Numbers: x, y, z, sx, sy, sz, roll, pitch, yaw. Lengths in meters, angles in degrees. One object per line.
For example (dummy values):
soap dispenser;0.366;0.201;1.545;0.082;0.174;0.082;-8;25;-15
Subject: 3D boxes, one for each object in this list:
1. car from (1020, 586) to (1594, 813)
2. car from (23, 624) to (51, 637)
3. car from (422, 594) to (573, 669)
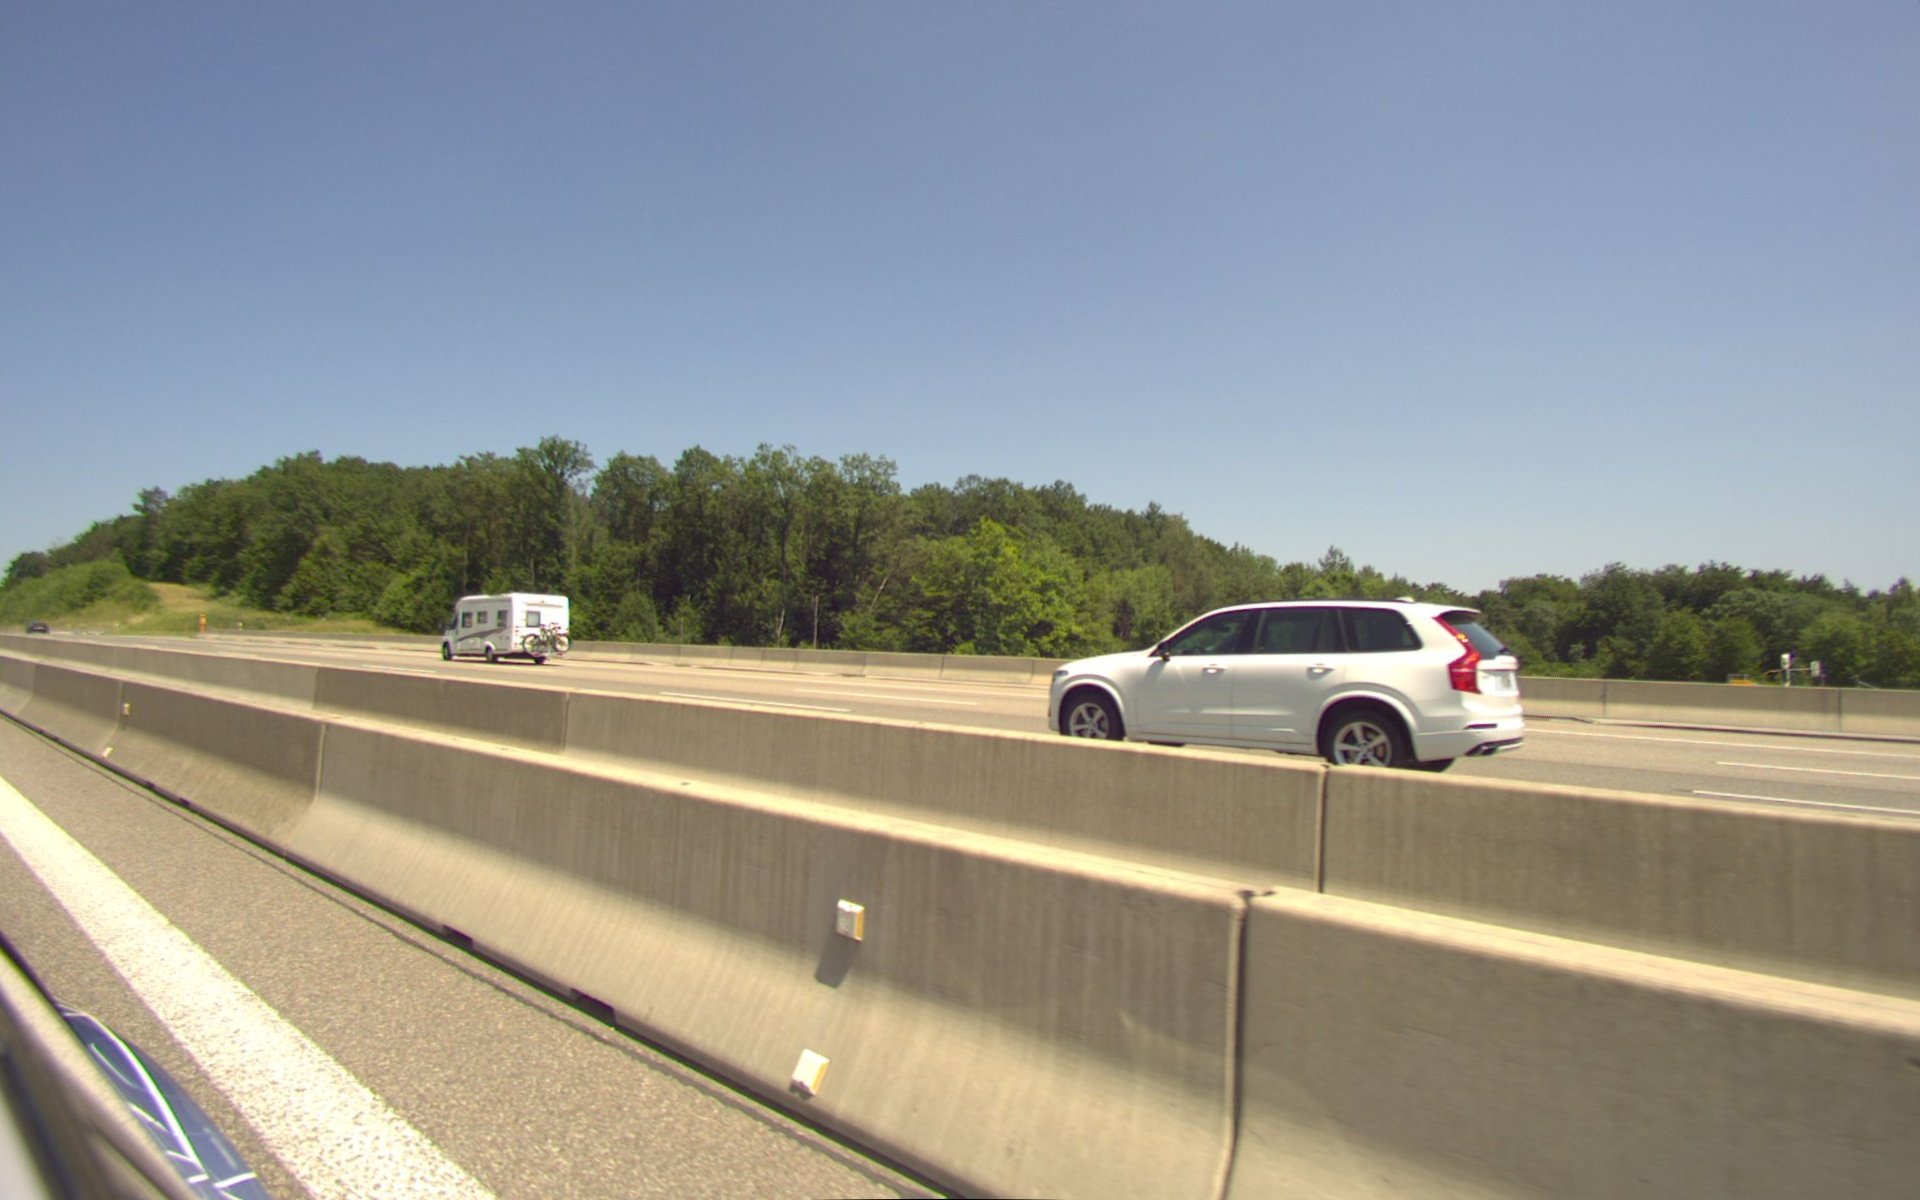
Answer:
car;3.334;0.865;10.546;5.316;1.801;1.973;-1;-3;41
car;-111.943;3.674;122.763;4.760;1.452;1.820;-1;-4;40
car;-18.363;1.228;39.878;8.171;2.679;2.198;-1;-3;41
